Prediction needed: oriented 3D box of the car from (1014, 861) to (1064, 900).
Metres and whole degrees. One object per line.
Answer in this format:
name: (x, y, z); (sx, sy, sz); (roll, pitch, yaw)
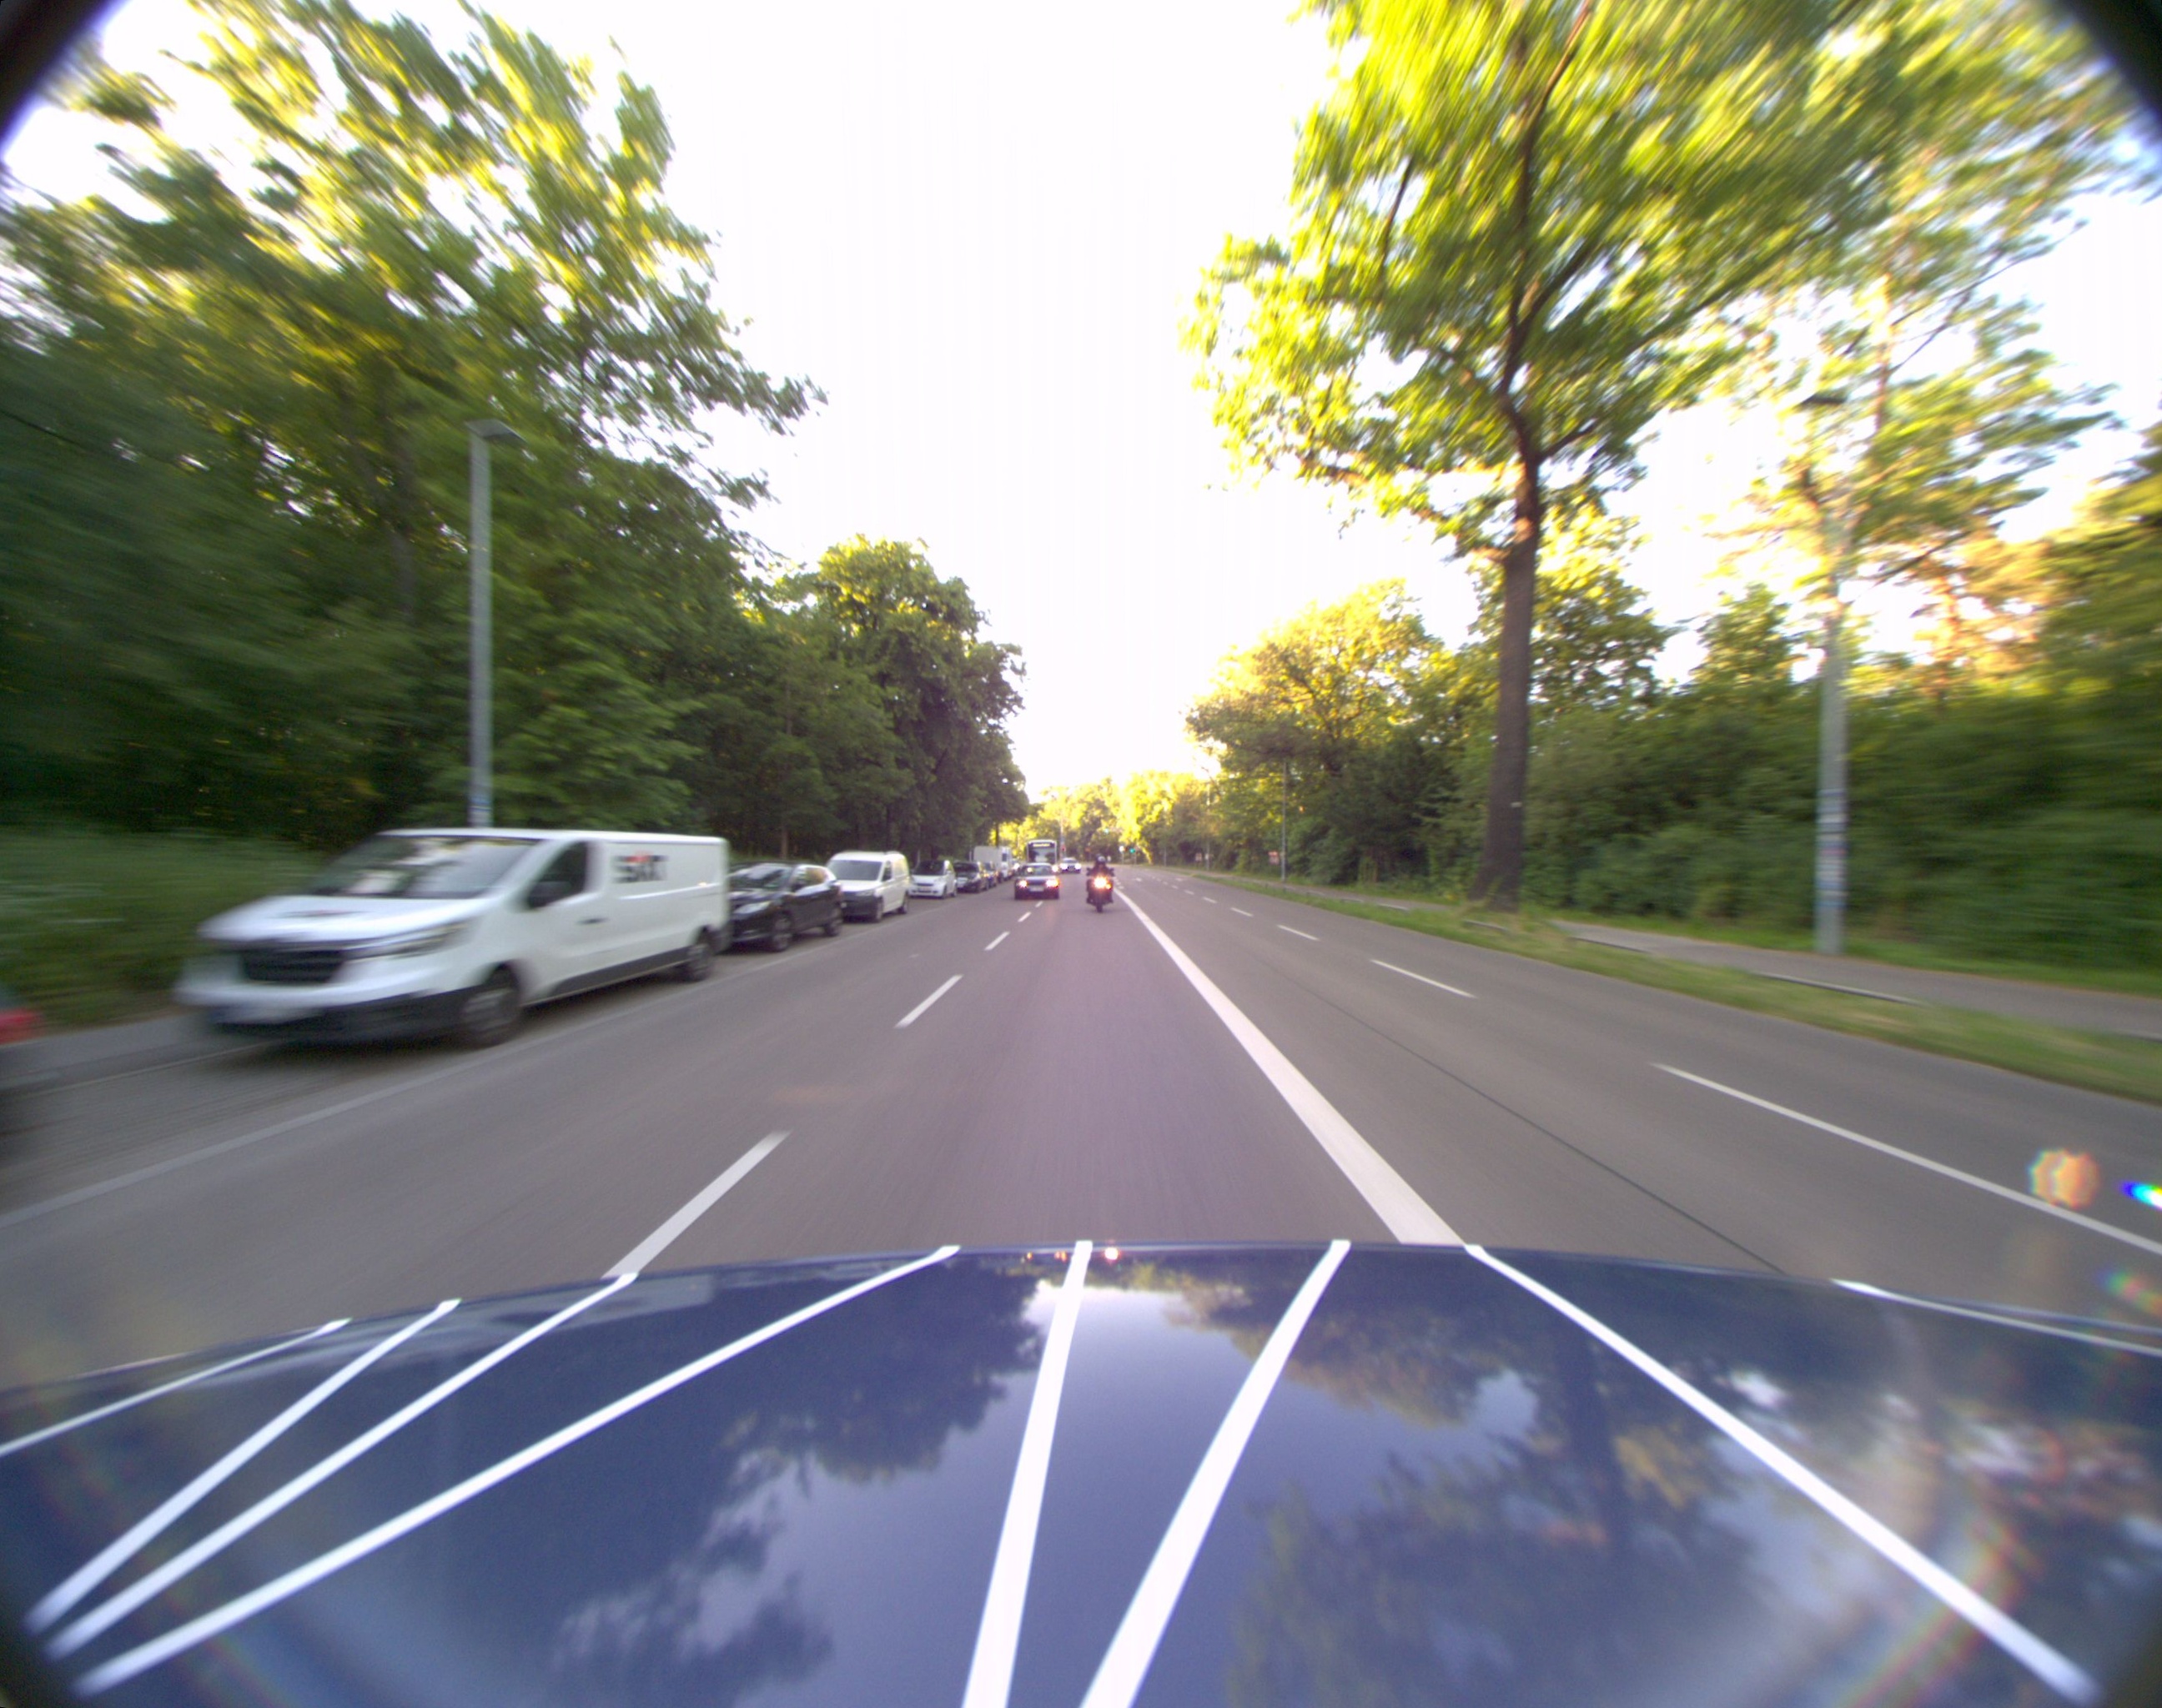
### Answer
car: (-1.628, 1.005, 30.615); (1.678, 1.351, 3.994); (-1, 1, 1)

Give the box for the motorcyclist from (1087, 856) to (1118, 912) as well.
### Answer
motorcyclist: (0.591, 0.817, 21.141); (0.830, 1.484, 1.024); (-1, 1, 1)

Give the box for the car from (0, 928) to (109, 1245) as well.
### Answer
car: (-5.883, 1.085, 1.654); (1.873, 1.398, 4.368); (1, 1, 1)

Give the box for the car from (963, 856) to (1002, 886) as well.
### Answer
car: (-5.546, 0.934, 43.246); (1.682, 1.526, 4.352); (1, 1, -1)

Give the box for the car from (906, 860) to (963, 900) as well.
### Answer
car: (-5.925, 1.029, 31.067); (1.589, 1.487, 3.180); (1, 1, 2)

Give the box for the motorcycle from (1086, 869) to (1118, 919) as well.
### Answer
motorcycle: (0.573, 1.076, 21.146); (0.830, 1.212, 2.603); (-1, 1, 1)

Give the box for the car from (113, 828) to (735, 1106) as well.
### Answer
car: (-5.958, 0.786, 8.185); (1.873, 1.970, 5.474); (1, 1, 1)

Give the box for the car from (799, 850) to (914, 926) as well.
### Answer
car: (-5.941, 0.817, 20.740); (1.763, 1.794, 4.736); (1, 1, -1)

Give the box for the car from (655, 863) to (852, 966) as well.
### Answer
car: (-5.949, 1.004, 14.470); (1.763, 1.538, 4.428); (1, 1, 1)

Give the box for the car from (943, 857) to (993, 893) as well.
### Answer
car: (-5.464, 0.974, 37.281); (1.763, 1.526, 4.988); (1, 1, -1)

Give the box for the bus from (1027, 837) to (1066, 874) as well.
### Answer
bus: (-2.912, 0.083, 68.732); (2.812, 3.030, 12.885); (-1, 0, 0)

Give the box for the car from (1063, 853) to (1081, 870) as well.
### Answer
car: (-0.832, 0.757, 75.057); (1.679, 1.552, 3.994); (-1, 1, 0)

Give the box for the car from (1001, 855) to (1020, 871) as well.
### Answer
car: (-6.841, 0.838, 73.805); (1.682, 1.455, 3.687); (1, 1, -3)

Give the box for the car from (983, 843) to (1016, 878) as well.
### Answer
car: (-5.964, 0.420, 56.202); (1.909, 2.409, 5.574); (1, 1, -1)

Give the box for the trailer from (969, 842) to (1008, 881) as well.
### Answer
trailer: (-5.953, 0.448, 49.418); (1.909, 2.409, 5.125); (1, 1, -1)
